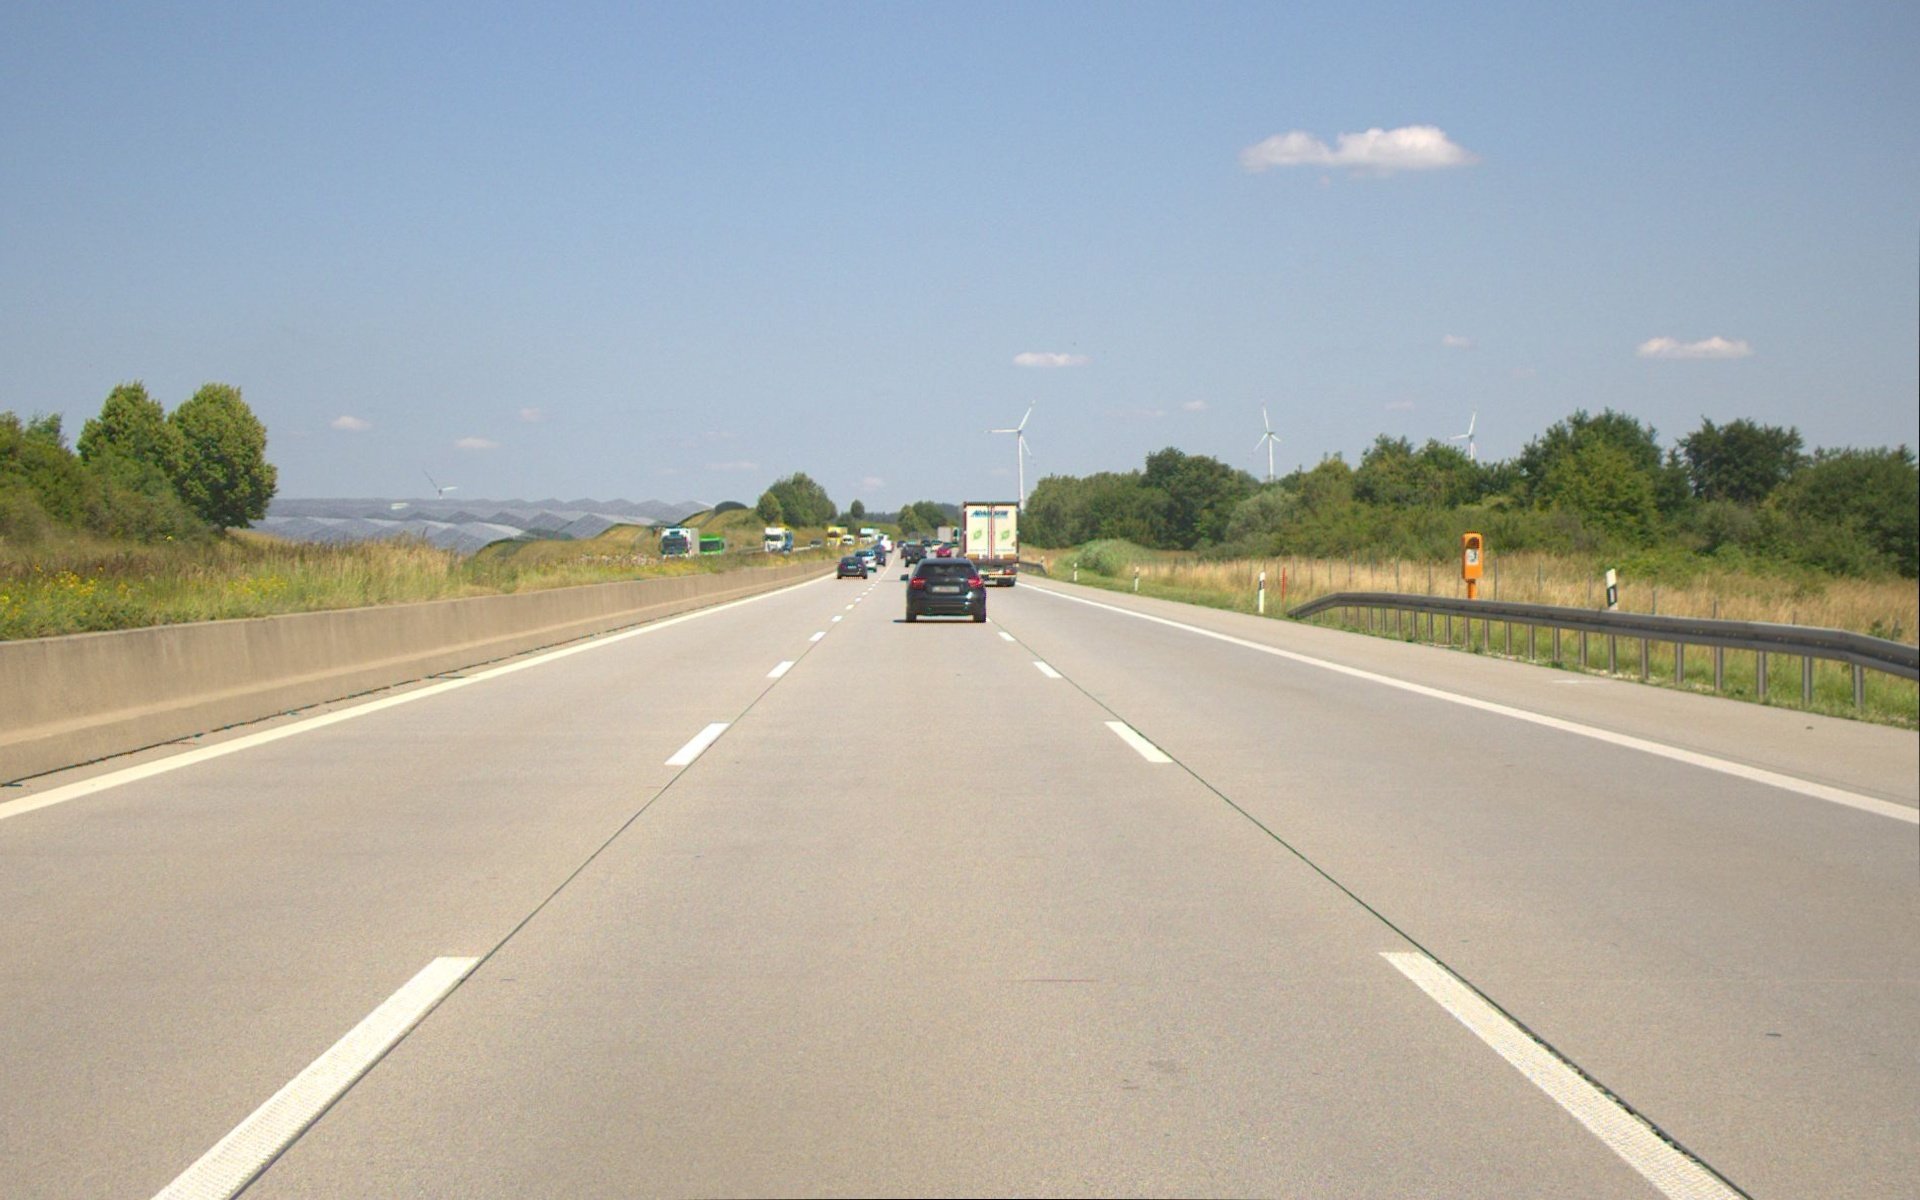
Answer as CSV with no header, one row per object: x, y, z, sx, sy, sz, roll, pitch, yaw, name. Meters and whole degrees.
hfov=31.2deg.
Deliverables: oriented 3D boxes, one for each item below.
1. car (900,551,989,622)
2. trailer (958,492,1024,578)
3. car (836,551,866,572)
-0.373,-0.324,77.356,1.910,1.487,4.192,1,1,-1,car
1.444,-3.173,168.187,2.852,4.029,12.714,1,1,-1,trailer
-6.594,-2.328,208.586,1.655,1.192,3.960,3,1,-1,car
